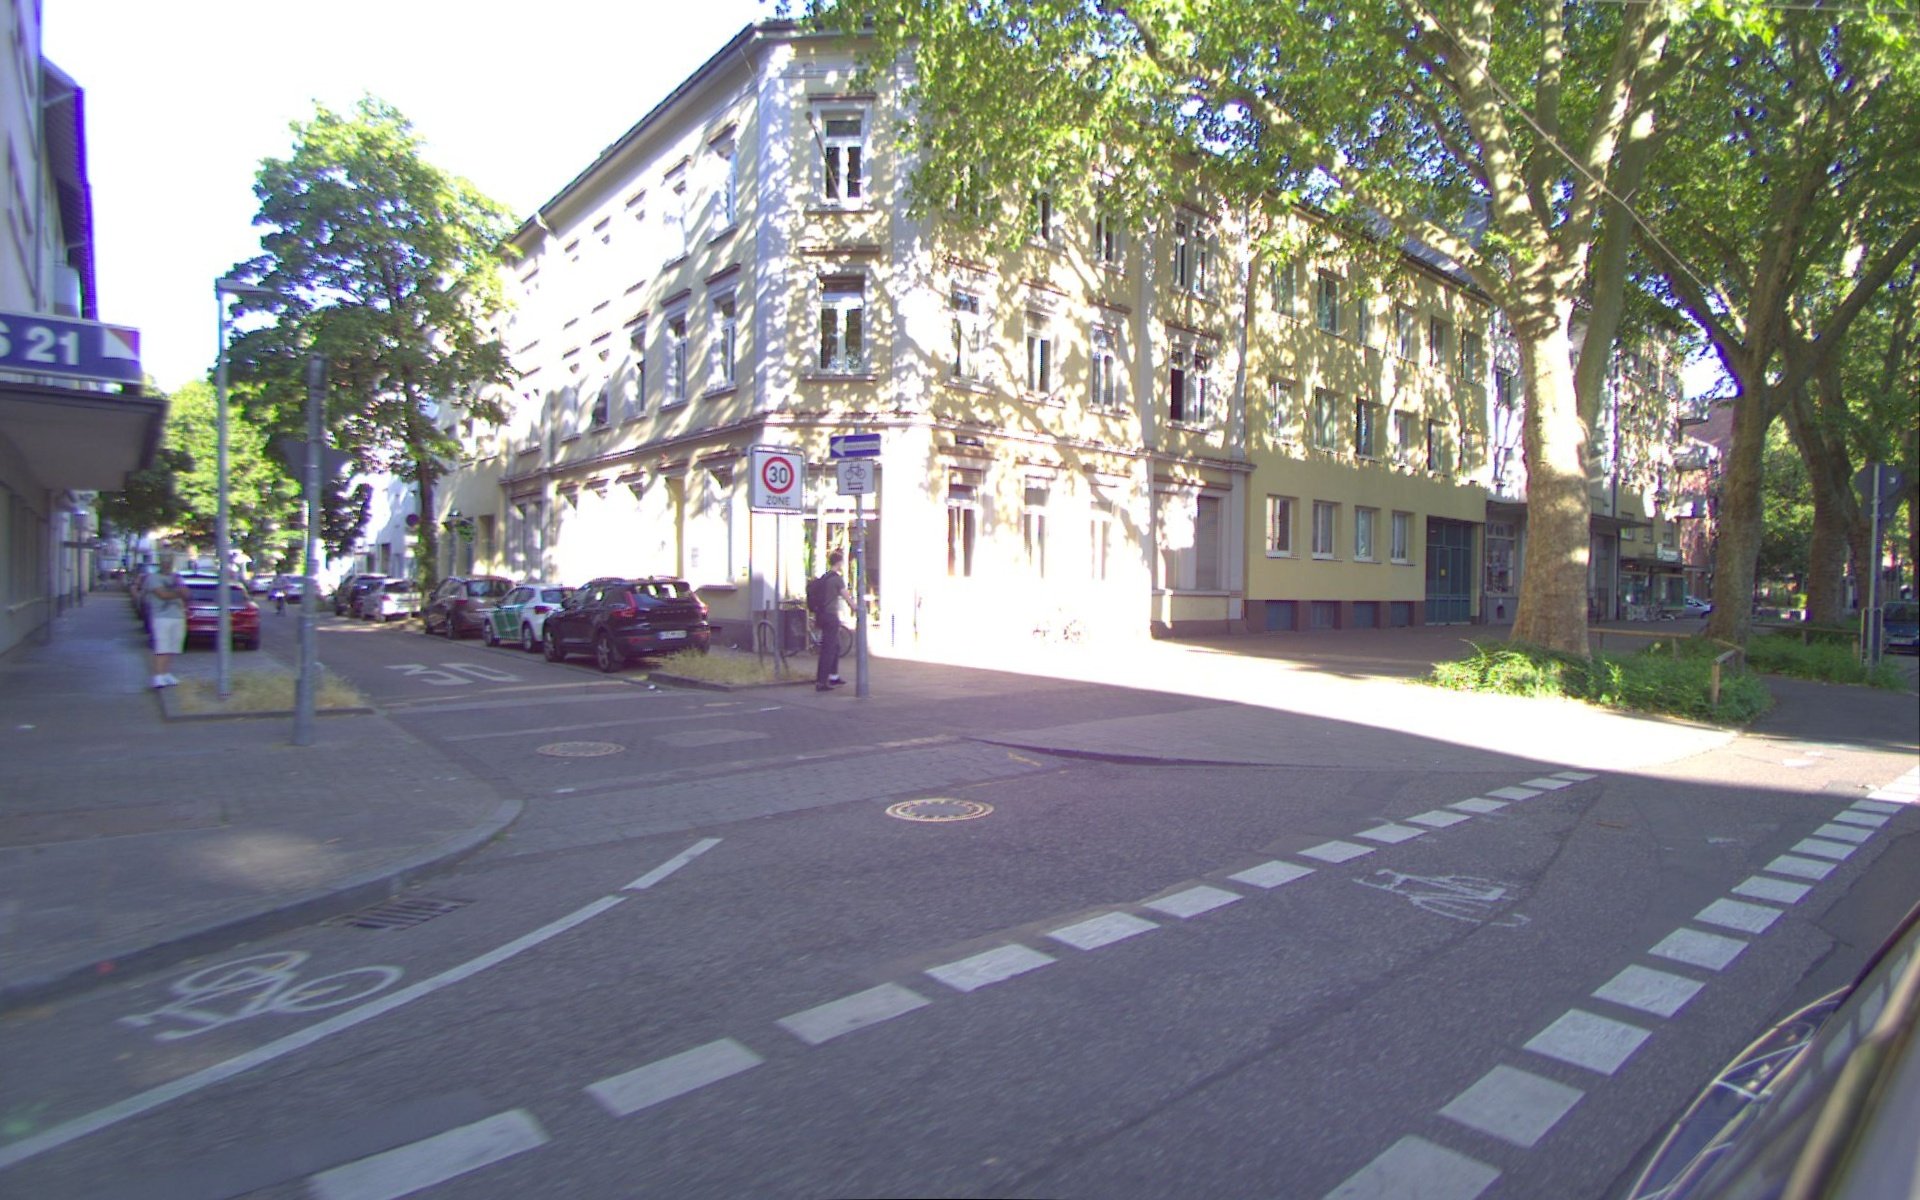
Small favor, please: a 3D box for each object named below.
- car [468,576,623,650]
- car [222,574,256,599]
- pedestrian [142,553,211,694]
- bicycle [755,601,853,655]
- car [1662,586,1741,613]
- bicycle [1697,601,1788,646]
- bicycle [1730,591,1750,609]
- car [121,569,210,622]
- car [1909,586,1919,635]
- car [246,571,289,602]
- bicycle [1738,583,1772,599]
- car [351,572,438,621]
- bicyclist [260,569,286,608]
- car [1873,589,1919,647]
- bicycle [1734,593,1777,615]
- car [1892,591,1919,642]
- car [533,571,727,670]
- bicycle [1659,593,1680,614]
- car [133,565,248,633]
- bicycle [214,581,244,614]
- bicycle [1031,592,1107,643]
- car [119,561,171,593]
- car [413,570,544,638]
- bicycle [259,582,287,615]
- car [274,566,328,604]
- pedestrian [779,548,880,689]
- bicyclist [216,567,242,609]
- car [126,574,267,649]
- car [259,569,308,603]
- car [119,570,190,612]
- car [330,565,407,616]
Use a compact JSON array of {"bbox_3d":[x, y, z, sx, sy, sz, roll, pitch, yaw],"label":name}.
[{"bbox_3d":[-9.579,0.223,23.213,1.967,1.522,4.136,-2,2,-43],"label":"car"},{"bbox_3d":[-56.969,-1.070,79.969,1.963,1.813,4.142,3,-1,-38],"label":"car"},{"bbox_3d":[-9.592,0.267,12.389,0.654,1.665,0.748,0,0,-39],"label":"pedestrian"},{"bbox_3d":[-3.033,0.534,19.657,1.808,1.020,0.567,0,0,15],"label":"bicycle"},{"bbox_3d":[48.875,-0.054,66.737,1.833,1.714,3.869,0,1,-40],"label":"car"},{"bbox_3d":[20.925,0.613,27.115,0.500,1.018,1.975,1,3,-15],"label":"bicycle"},{"bbox_3d":[53.188,-0.027,69.009,1.666,1.171,0.601,0,3,-38],"label":"bicycle"},{"bbox_3d":[-26.555,-0.165,33.765,1.966,1.627,4.136,3,-1,-43],"label":"car"},{"bbox_3d":[34.905,0.354,35.573,4.701,1.622,1.861,-2,3,-42],"label":"car"},{"bbox_3d":[-43.373,-0.857,63.362,1.963,1.813,4.142,3,-1,-38],"label":"car"},{"bbox_3d":[60.454,-0.701,76.994,0.560,1.171,1.939,1,2,-25],"label":"bicycle"},{"bbox_3d":[-19.448,-0.118,34.719,1.963,1.523,4.142,3,-1,-38],"label":"car"},{"bbox_3d":[-25.861,-0.430,38.087,0.732,1.418,0.660,0,2,-40],"label":"bicyclist"},{"bbox_3d":[27.478,0.502,28.923,2.858,1.537,1.568,-1,3,-39],"label":"car"},{"bbox_3d":[45.898,0.215,58.391,1.781,1.171,0.739,3,2,28],"label":"bicycle"},{"bbox_3d":[30.896,0.512,32.015,4.528,1.453,1.818,-2,3,-44],"label":"car"},{"bbox_3d":[-6.215,0.302,18.787,1.965,1.613,4.138,0,1,-41],"label":"car"},{"bbox_3d":[35.855,0.154,51.138,0.570,1.009,1.752,3,3,44],"label":"bicycle"},{"bbox_3d":[-20.230,-0.037,26.537,1.966,1.627,4.136,3,-1,-43],"label":"car"},{"bbox_3d":[-27.752,-0.099,38.403,0.733,1.171,1.794,0,3,-42],"label":"bicycle"},{"bbox_3d":[2.535,0.386,23.392,1.889,1.117,0.583,-1,3,-41],"label":"bicycle"},{"bbox_3d":[-45.992,-1.273,57.057,1.966,1.627,4.136,3,-1,-43],"label":"car"},{"bbox_3d":[-12.899,0.088,27.002,1.966,1.657,4.136,3,-1,-43],"label":"car"},{"bbox_3d":[-25.899,-0.069,38.137,0.732,1.171,1.795,0,3,-39],"label":"bicycle"},{"bbox_3d":[-34.439,-0.770,52.841,1.963,1.813,4.142,3,-1,-38],"label":"car"},{"bbox_3d":[-1.829,0.238,14.218,1.169,1.890,0.767,0,1,-44],"label":"pedestrian"},{"bbox_3d":[-27.730,-0.463,38.380,0.733,1.520,0.785,0,3,-43],"label":"bicyclist"},{"bbox_3d":[-16.340,0.226,21.575,1.966,1.440,4.136,3,-1,-43],"label":"car"},{"bbox_3d":[-38.210,-0.771,57.118,1.963,1.813,4.142,3,-1,-38],"label":"car"},{"bbox_3d":[-33.700,-0.388,42.307,1.966,1.627,4.136,3,-1,-43],"label":"car"},{"bbox_3d":[-22.564,-0.356,38.513,1.963,1.813,4.142,3,-1,-38],"label":"car"}]
